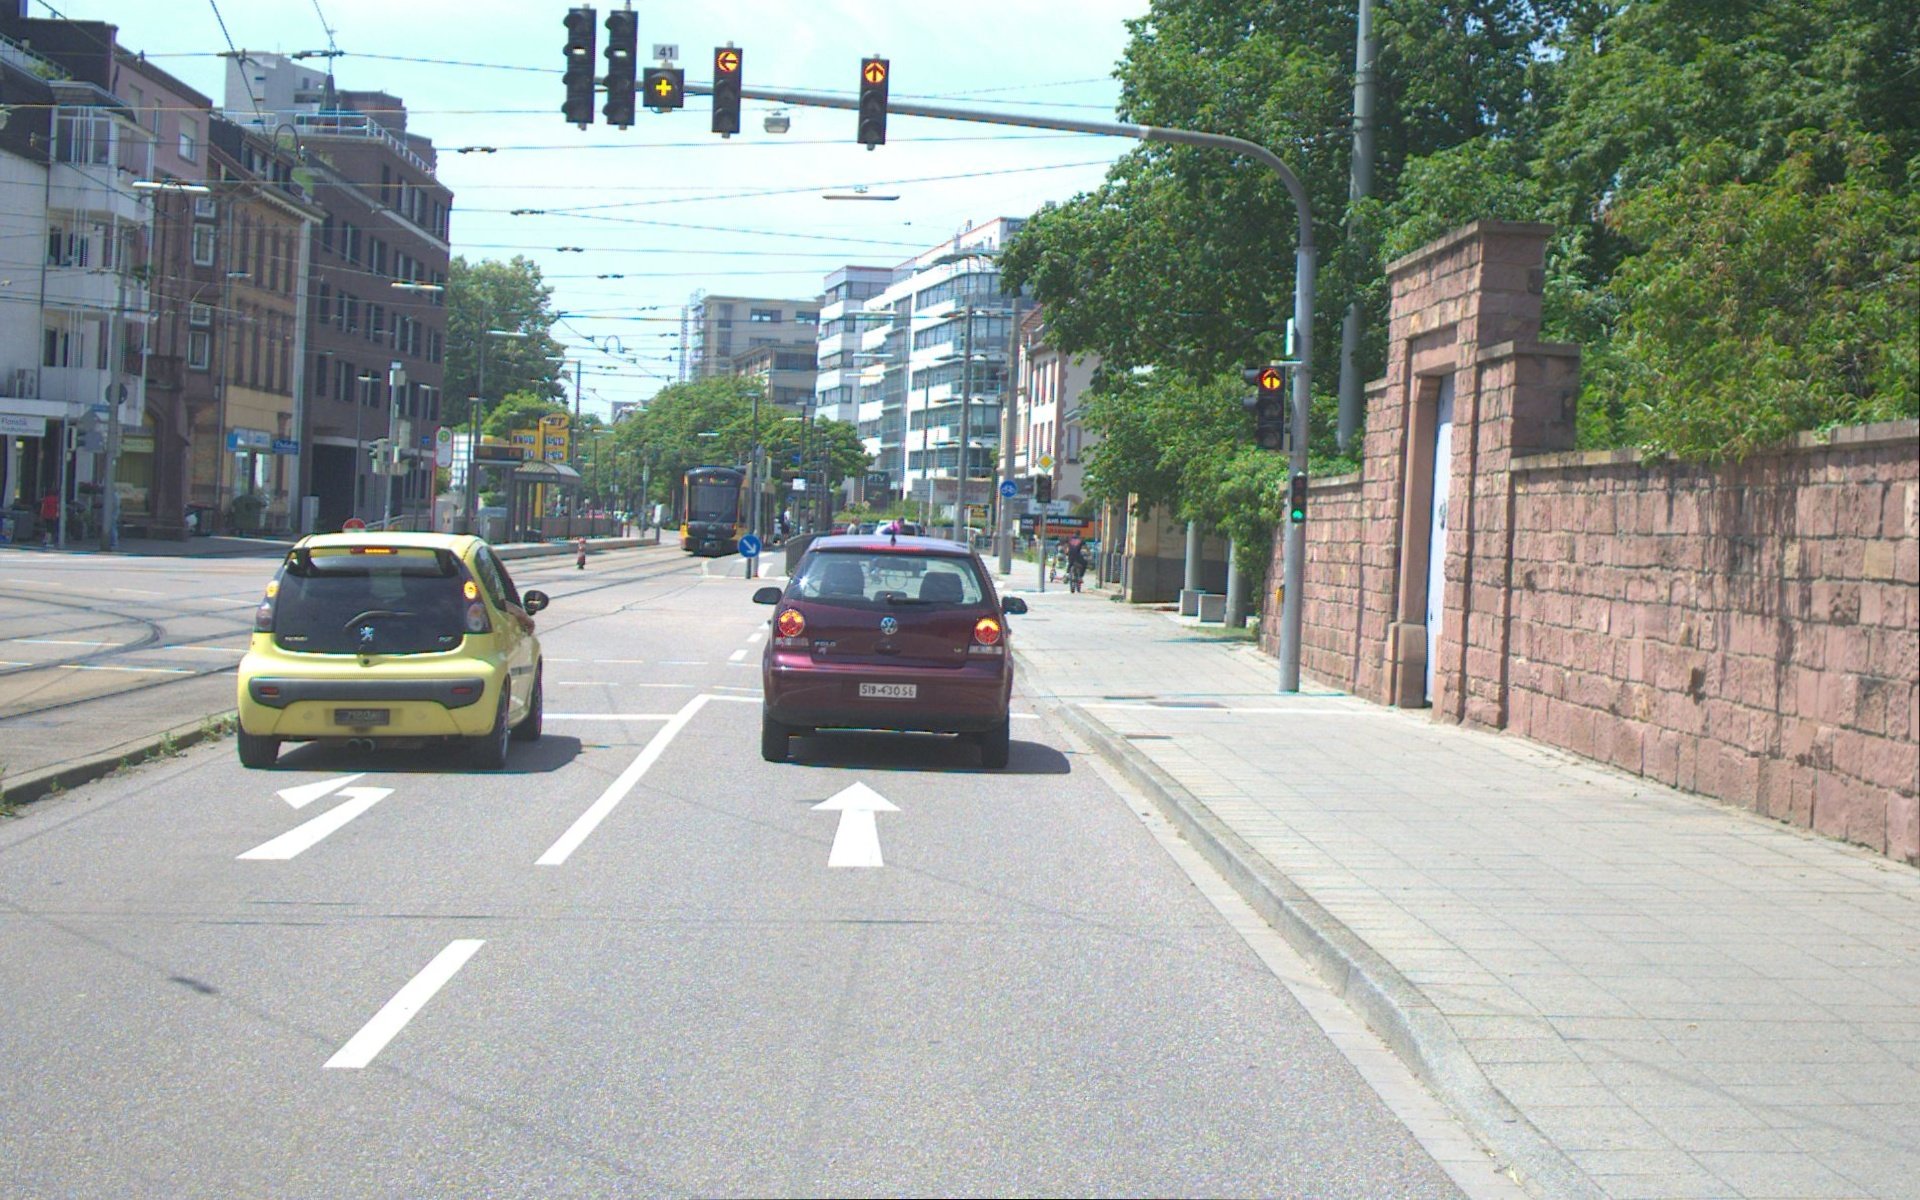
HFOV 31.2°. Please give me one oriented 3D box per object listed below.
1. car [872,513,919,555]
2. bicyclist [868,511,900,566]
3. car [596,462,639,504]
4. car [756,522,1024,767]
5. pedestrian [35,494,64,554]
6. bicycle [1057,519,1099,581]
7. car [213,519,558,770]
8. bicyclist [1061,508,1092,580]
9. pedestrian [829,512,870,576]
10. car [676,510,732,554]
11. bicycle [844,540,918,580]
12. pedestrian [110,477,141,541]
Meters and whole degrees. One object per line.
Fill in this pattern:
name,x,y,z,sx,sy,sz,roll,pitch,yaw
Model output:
car,-2.219,-2.288,118.198,1.572,1.411,3.720,0,1,-1
bicyclist,-1.961,-1.589,88.916,0.765,1.401,0.506,1,0,-4
car,-17.031,-5.822,171.186,1.735,2.007,4.000,2,1,-1
car,-0.483,0.233,23.546,1.610,1.458,4.086,3,1,-1
pedestrian,-23.759,-1.976,89.706,0.484,1.535,0.537,1,0,24
bicycle,3.013,-1.272,87.964,0.835,1.520,4.000,1,1,-1
car,-3.604,0.228,22.051,1.723,1.440,3.293,1,2,-1
bicyclist,2.993,-1.434,88.193,0.721,1.812,0.888,1,0,-1
pedestrian,-2.908,-1.477,90.491,0.981,1.655,0.919,2,1,-4
car,-9.972,-2.645,133.930,1.938,1.635,4.000,1,1,-1
bicycle,-2.045,-1.029,88.900,1.865,1.004,0.579,1,0,-5
pedestrian,-22.749,-2.478,93.677,0.609,1.748,0.505,1,1,-45
